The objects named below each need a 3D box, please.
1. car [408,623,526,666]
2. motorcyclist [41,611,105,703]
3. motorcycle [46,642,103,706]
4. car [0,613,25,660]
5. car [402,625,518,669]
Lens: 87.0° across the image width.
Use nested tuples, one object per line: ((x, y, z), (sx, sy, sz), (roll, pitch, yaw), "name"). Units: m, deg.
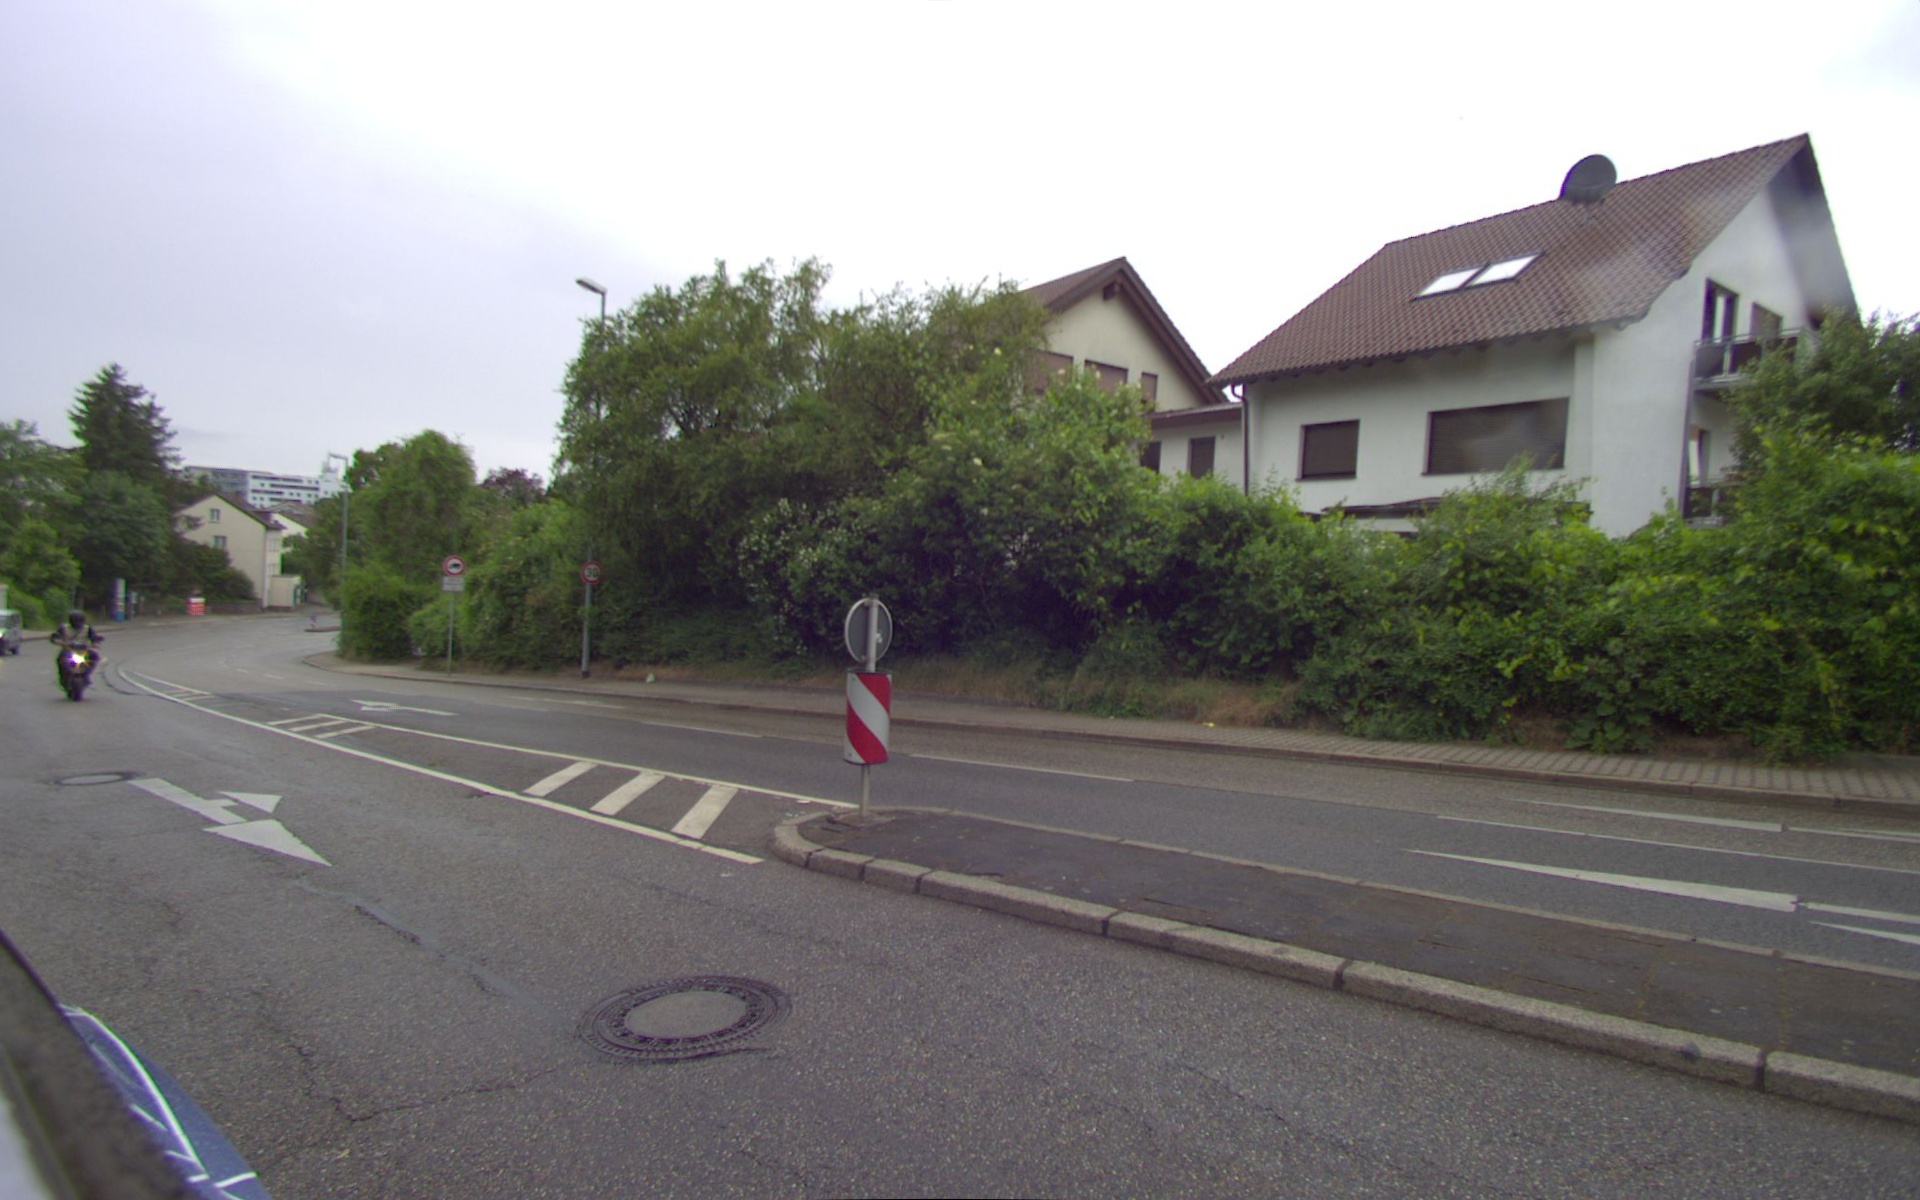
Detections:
((-19.492, 1.722, 40.099), (3.853, 1.451, 1.814), (-3, 1, -41), "car")
((-16.548, 1.058, 18.875), (0.756, 1.655, 0.675), (5, -4, -44), "motorcyclist")
((-16.467, 1.357, 18.802), (0.682, 1.061, 1.749), (6, -3, -43), "motorcycle")
((-38.692, 1.395, 39.980), (1.749, 1.788, 4.011), (6, -4, -33), "car")
((-20.973, 1.928, 42.542), (3.939, 1.548, 2.003), (-3, 1, -42), "car")
